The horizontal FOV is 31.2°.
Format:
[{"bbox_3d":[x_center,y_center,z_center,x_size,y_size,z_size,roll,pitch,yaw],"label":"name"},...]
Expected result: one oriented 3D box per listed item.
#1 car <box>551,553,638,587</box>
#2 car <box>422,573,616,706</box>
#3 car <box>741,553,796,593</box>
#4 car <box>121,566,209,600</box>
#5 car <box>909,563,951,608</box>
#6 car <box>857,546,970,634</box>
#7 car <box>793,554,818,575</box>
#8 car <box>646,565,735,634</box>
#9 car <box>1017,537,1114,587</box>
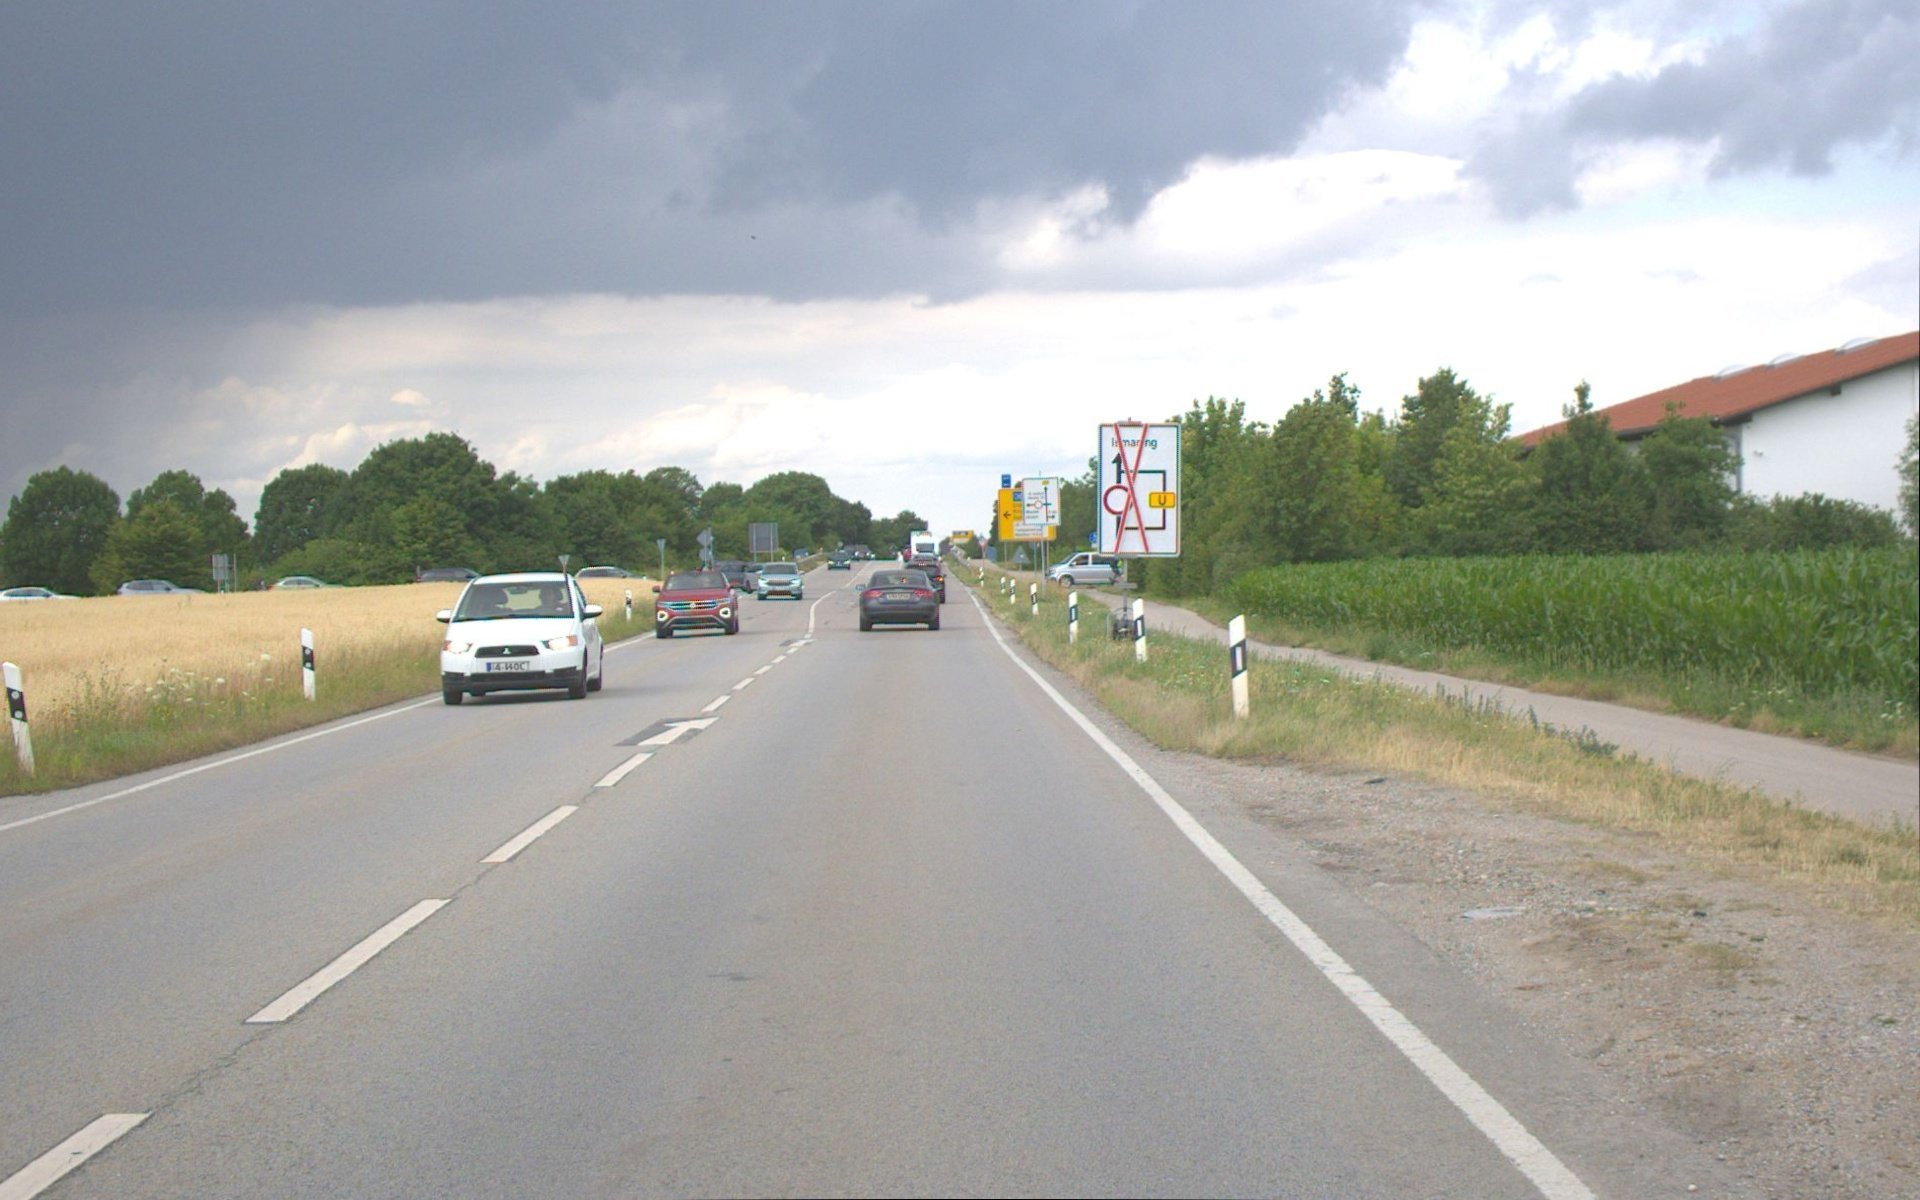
[{"bbox_3d":[-18.792,-1.564,176.969,4.412,1.643,1.502,-2,1,-5],"label":"car"},{"bbox_3d":[-5.242,0.434,41.304,1.806,1.451,4.114,-2,1,-1],"label":"car"},{"bbox_3d":[-8.188,-1.157,147.188,2.065,1.575,4.765,-3,1,-1],"label":"car"},{"bbox_3d":[-41.341,-0.889,178.838,4.072,1.643,1.866,-1,1,4],"label":"car"},{"bbox_3d":[-1.151,-0.583,133.754,1.571,1.695,4.000,-1,0,0],"label":"car"},{"bbox_3d":[-1.110,-0.246,79.458,2.371,1.874,4.478,-3,1,-3],"label":"car"},{"bbox_3d":[-11.626,-2.676,258.948,1.646,1.585,4.000,-1,1,0],"label":"car"},{"bbox_3d":[-6.205,-0.039,79.487,1.712,1.483,4.608,-2,1,-1],"label":"car"},{"bbox_3d":[5.511,-1.986,179.732,4.835,2.443,2.006,-1,1,-3],"label":"car"}]
